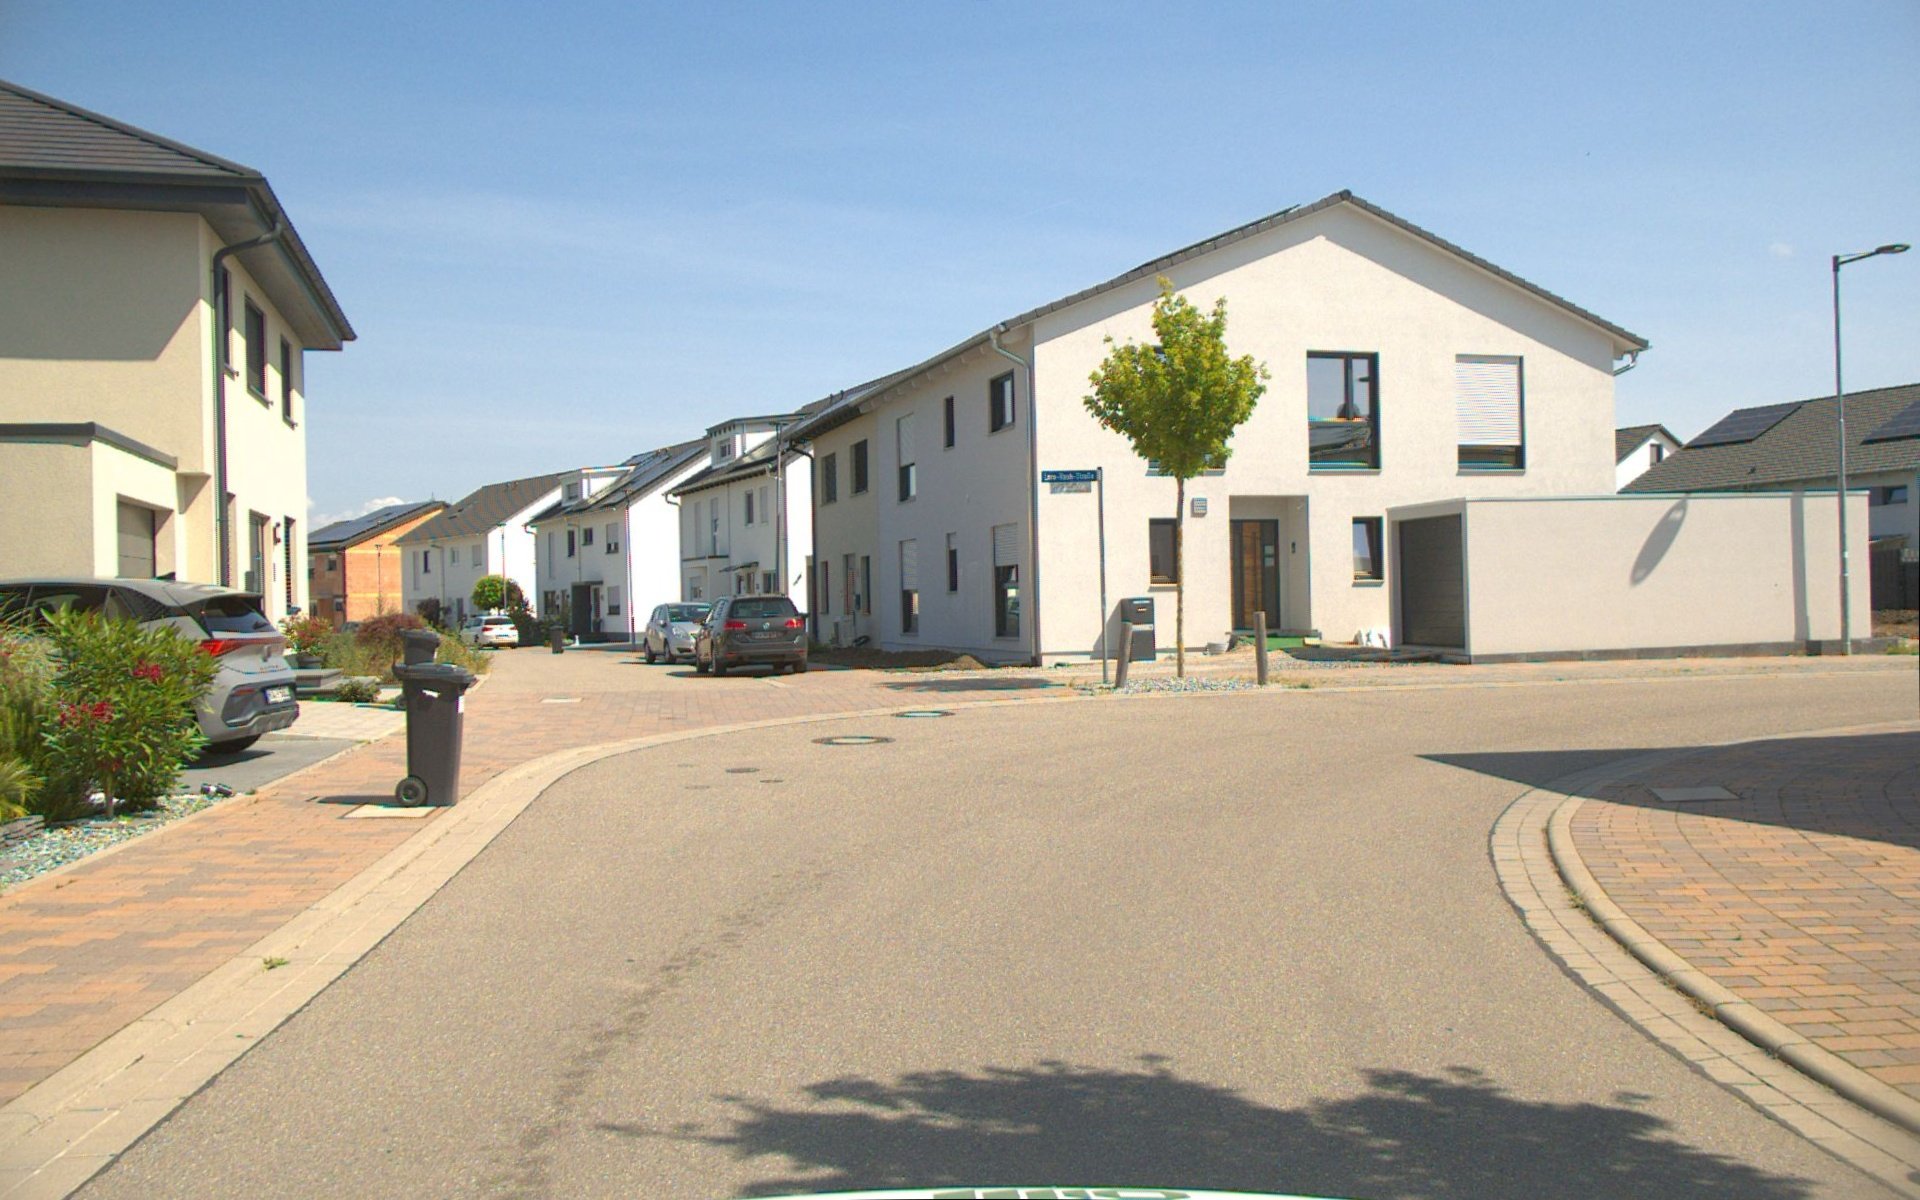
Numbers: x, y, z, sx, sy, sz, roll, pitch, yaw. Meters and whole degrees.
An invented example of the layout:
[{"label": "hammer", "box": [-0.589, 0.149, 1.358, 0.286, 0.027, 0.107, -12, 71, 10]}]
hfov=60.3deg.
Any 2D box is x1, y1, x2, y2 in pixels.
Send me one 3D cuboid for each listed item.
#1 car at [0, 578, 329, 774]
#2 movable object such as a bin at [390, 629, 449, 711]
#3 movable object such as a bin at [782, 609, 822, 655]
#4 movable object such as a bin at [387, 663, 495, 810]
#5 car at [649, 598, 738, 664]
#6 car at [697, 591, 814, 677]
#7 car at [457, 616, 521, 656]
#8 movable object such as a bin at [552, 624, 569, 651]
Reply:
[{"label": "car", "box": [-7.573, 0.603, 13.820, 3.906, 1.512, 1.754, -1, 0, -1]}, {"label": "movable object such as a bin", "box": [-6.397, 0.824, 19.590, 0.604, 0.943, 0.422, 2, -1, -13]}, {"label": "movable object such as a bin", "box": [-3.868, 0.780, 40.511, 0.772, 1.068, 0.800, -4, 1, -19]}, {"label": "movable object such as a bin", "box": [-3.536, 0.918, 11.297, 0.523, 0.952, 0.526, 1, 0, 7]}, {"label": "car", "box": [-6.589, 0.733, 40.591, 1.650, 1.489, 3.926, -2, 0, -16]}, {"label": "car", "box": [-3.915, 0.602, 31.138, 1.697, 1.447, 3.985, -2, 0, -14]}, {"label": "car", "box": [-20.711, 1.558, 72.659, 1.762, 1.624, 3.959, -2, 0, -30]}, {"label": "movable object such as a bin", "box": [-14.336, 1.344, 59.411, 0.549, 0.965, 0.245, -1, 0, -21]}]
